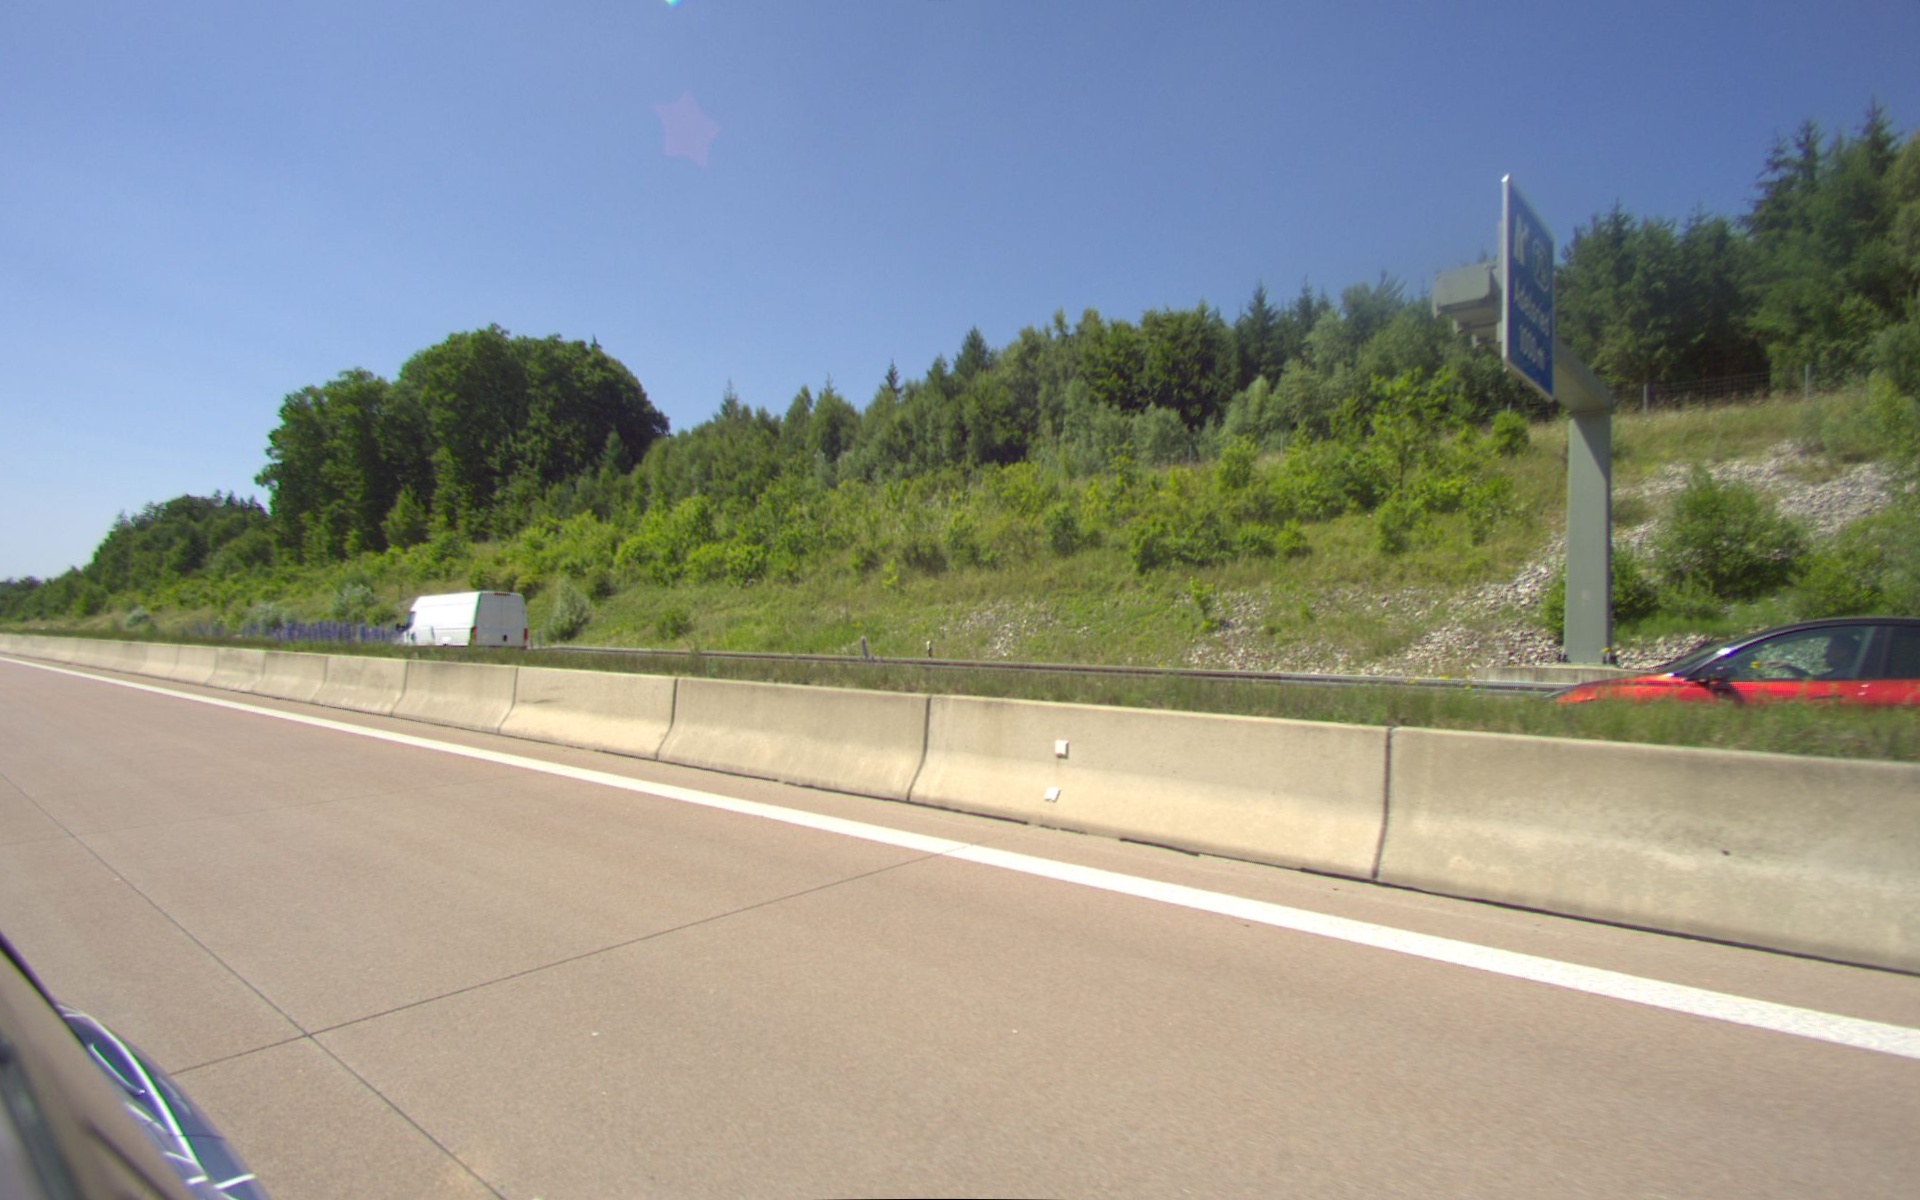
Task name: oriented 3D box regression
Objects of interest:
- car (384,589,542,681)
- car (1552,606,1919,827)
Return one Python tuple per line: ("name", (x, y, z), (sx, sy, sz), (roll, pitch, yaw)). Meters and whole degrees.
("car", (-17.865, 1.263, 36.102), (7.498, 2.992, 2.384), (-3, -2, 41))
("car", (7.794, 0.863, 8.132), (4.973, 1.606, 1.872), (-3, -1, 40))
